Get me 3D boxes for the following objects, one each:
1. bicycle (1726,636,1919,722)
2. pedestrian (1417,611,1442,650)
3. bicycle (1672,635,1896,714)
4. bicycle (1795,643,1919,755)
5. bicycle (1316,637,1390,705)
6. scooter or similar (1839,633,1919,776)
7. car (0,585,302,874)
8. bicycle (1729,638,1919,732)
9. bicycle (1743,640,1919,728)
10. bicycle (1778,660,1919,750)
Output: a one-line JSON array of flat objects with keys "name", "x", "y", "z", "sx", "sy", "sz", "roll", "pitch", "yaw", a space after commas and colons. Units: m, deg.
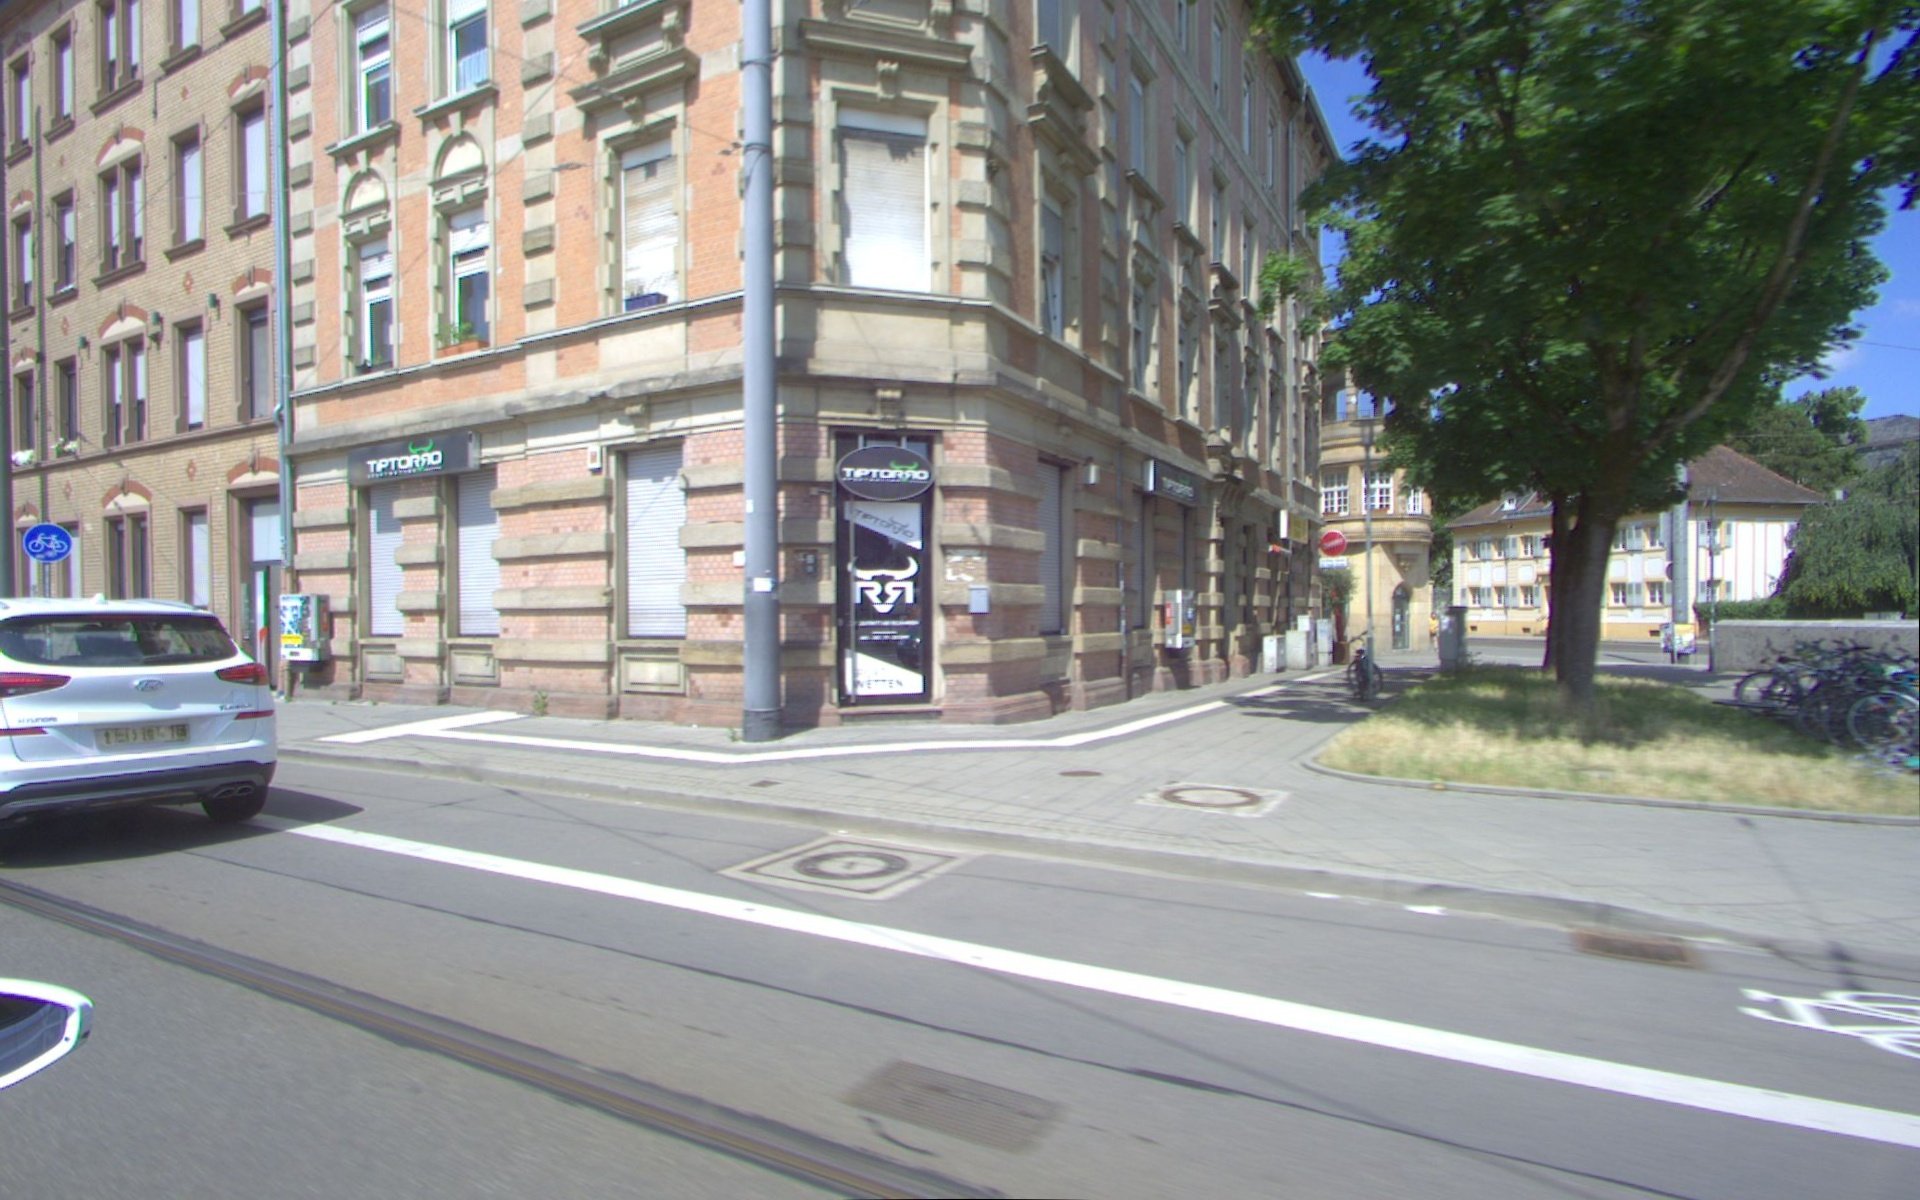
[{"name": "bicycle", "x": 12.527, "y": 1.093, "z": 14.220, "sx": 2.537, "sy": 1.105, "sz": 0.790, "roll": -1, "pitch": 1, "yaw": 33}, {"name": "pedestrian", "x": 19.760, "y": 1.268, "z": 42.165, "sx": 0.852, "sy": 1.558, "sz": 0.900, "roll": 2, "pitch": 3, "yaw": 24}, {"name": "bicycle", "x": 12.457, "y": 1.091, "z": 15.278, "sx": 2.537, "sy": 1.068, "sz": 0.790, "roll": -1, "pitch": 1, "yaw": 33}, {"name": "bicycle", "x": 10.457, "y": 1.048, "z": 10.692, "sx": 2.231, "sy": 1.096, "sz": 1.022, "roll": -1, "pitch": 1, "yaw": 33}, {"name": "bicycle", "x": 6.764, "y": 1.191, "z": 17.206, "sx": 0.755, "sy": 1.064, "sz": 1.640, "roll": 0, "pitch": 0, "yaw": 37}, {"name": "scooter or similar", "x": 8.997, "y": 0.924, "z": 9.034, "sx": 1.367, "sy": 1.219, "sz": 0.948, "roll": -1, "pitch": 1, "yaw": 23}, {"name": "car", "x": -6.881, "y": 0.798, "z": 7.418, "sx": 4.121, "sy": 1.655, "sz": 1.849, "roll": -1, "pitch": -2, "yaw": 33}, {"name": "bicycle", "x": 11.475, "y": 1.061, "z": 12.794, "sx": 2.537, "sy": 1.084, "sz": 0.790, "roll": -1, "pitch": 1, "yaw": 33}, {"name": "bicycle", "x": 12.145, "y": 1.102, "z": 13.410, "sx": 2.537, "sy": 1.068, "sz": 0.790, "roll": -1, "pitch": 1, "yaw": 33}, {"name": "bicycle", "x": 11.070, "y": 1.239, "z": 11.667, "sx": 2.255, "sy": 0.892, "sz": 0.840, "roll": 2, "pitch": 2, "yaw": 33}]
